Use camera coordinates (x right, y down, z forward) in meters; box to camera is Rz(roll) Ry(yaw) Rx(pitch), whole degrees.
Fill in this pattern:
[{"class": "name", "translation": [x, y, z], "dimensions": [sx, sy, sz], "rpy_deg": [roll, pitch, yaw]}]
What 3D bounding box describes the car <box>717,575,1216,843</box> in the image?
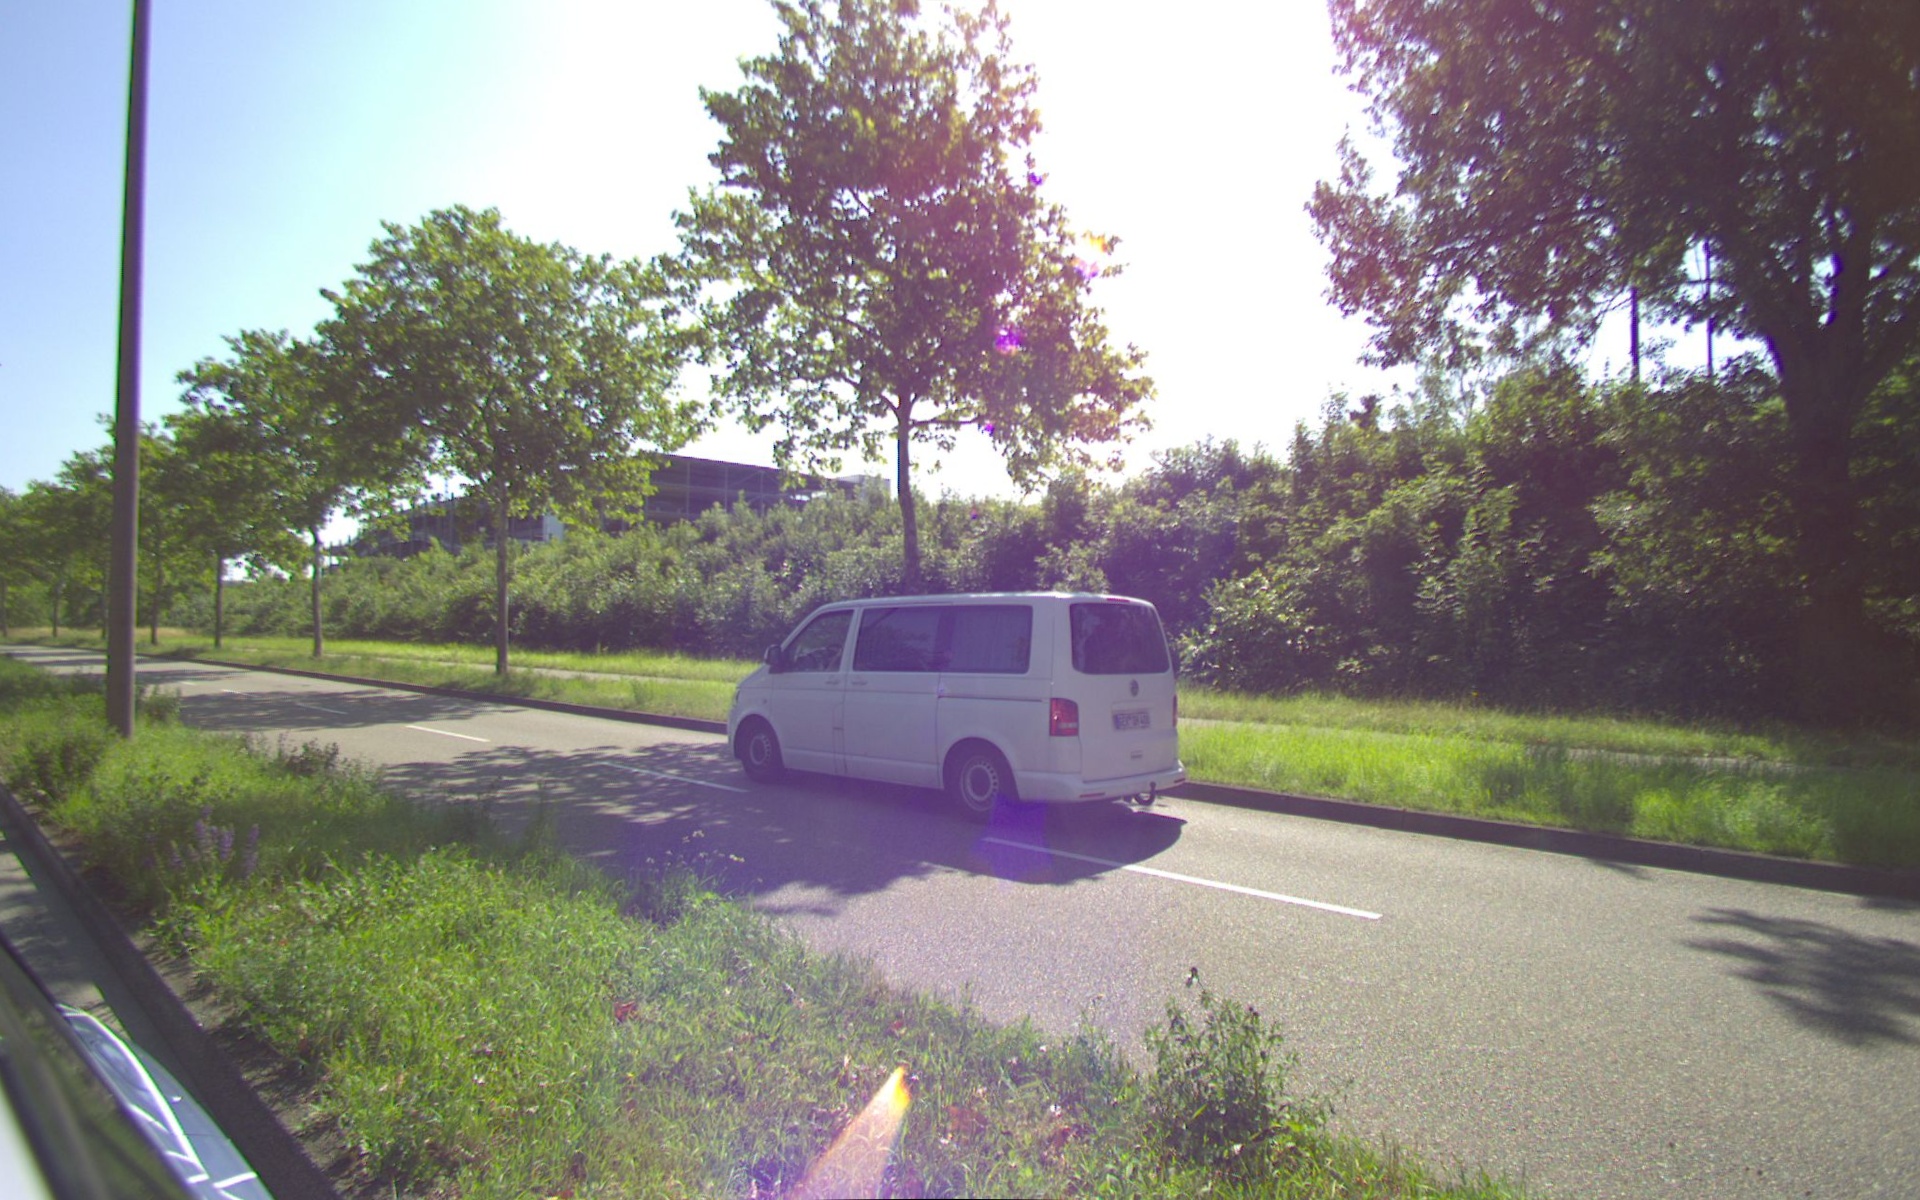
[{"class": "car", "translation": [-0.134, 0.870, 9.557], "dimensions": [4.574, 1.912, 1.972], "rpy_deg": [-1, -4, 43]}]
